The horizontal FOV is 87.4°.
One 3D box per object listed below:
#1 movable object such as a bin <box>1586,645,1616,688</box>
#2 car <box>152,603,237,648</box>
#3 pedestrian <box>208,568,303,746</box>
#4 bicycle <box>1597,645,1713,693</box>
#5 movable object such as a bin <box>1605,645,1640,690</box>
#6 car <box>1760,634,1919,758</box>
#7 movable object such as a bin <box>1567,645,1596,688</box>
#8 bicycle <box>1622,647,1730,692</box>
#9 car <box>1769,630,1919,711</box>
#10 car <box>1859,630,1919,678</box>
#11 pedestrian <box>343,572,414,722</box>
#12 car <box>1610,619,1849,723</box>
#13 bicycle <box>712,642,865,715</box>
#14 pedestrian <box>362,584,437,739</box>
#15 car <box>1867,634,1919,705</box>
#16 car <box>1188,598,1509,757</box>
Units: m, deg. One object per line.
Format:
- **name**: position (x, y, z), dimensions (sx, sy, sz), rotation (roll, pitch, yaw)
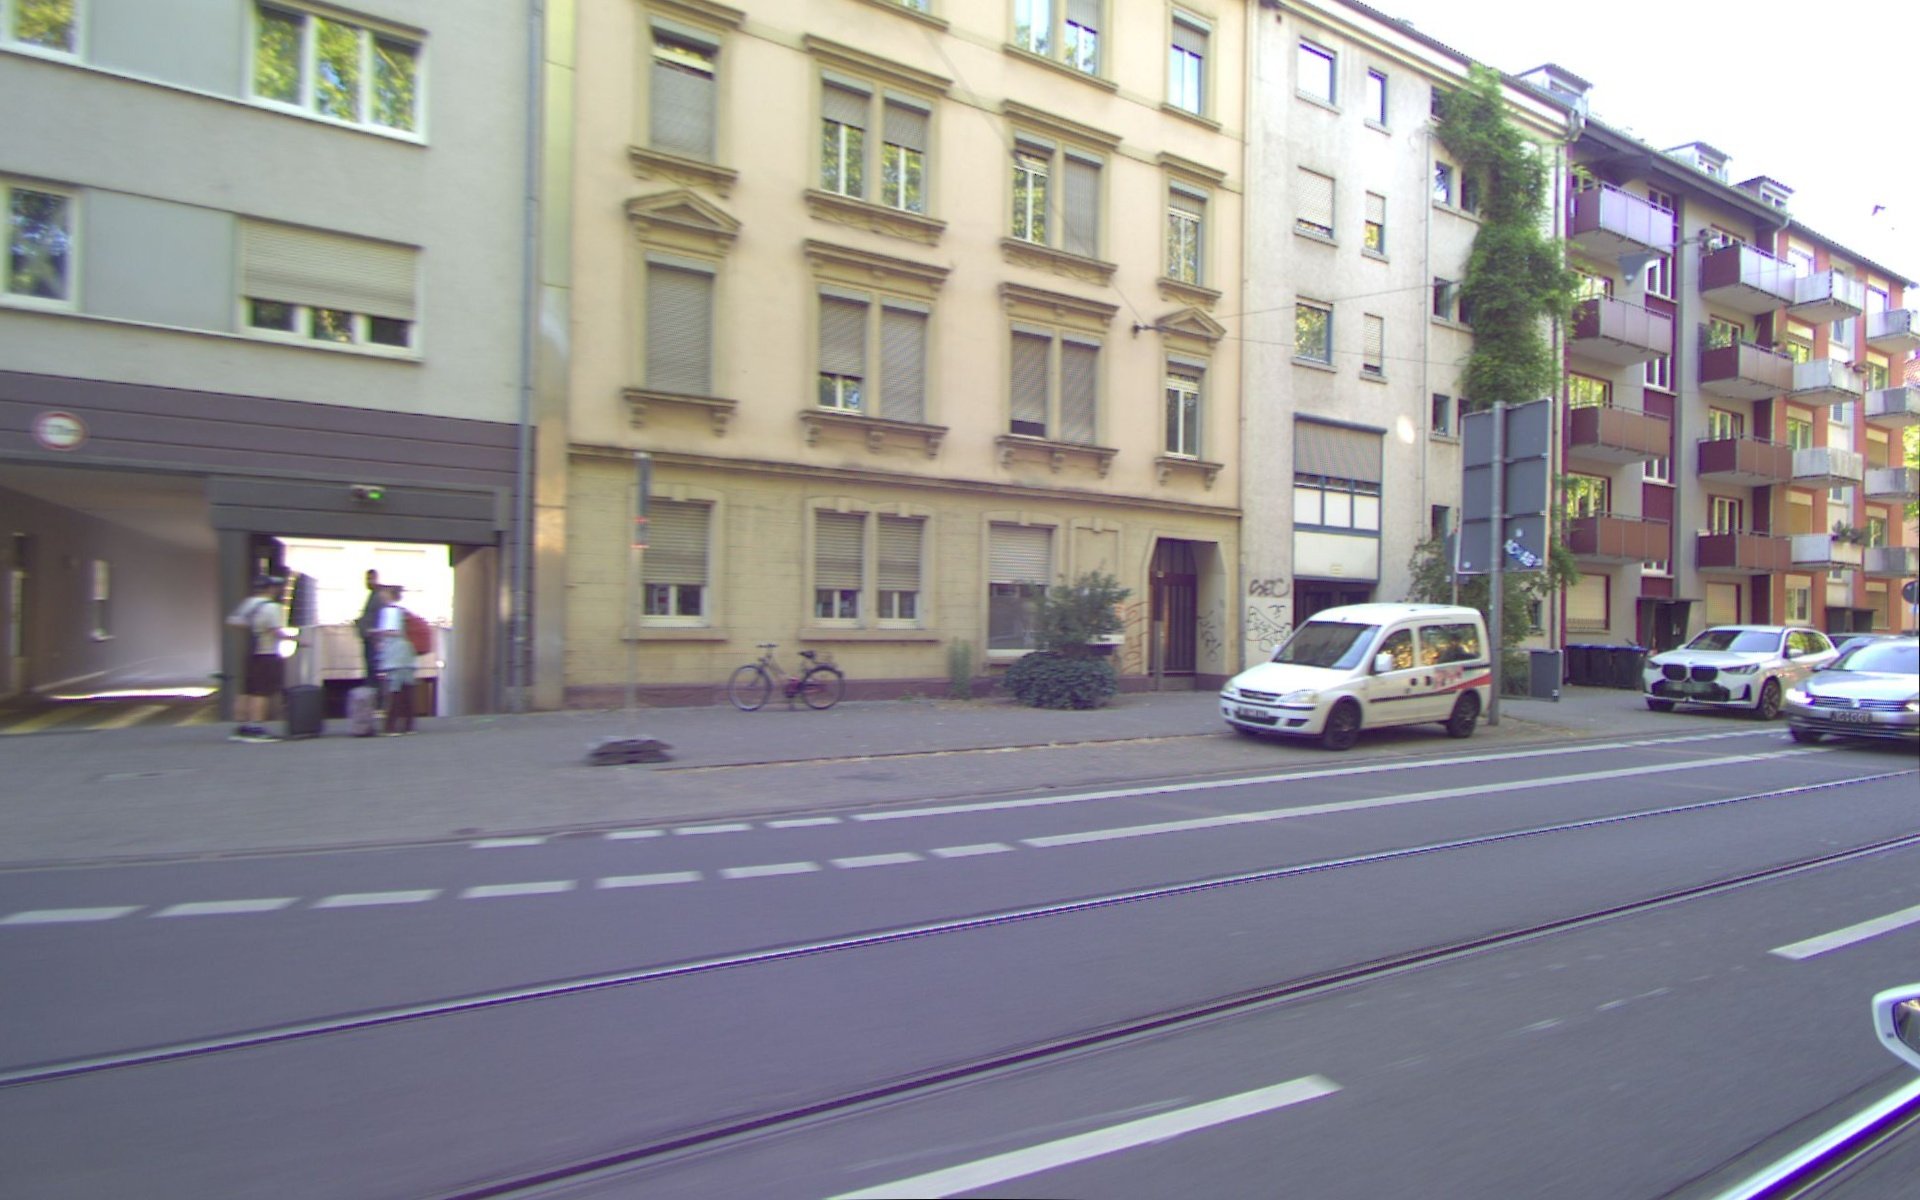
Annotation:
- **movable object such as a bin**: position (16.448, 1.703, 25.775), dimensions (0.486, 1.069, 0.458), rotation (1, -1, -30)
- **car**: position (-25.639, 0.822, 33.753), dimensions (1.767, 1.417, 3.570), rotation (2, -1, -30)
- **pedestrian**: position (-7.480, 0.577, 10.701), dimensions (0.727, 1.808, 0.860), rotation (1, 1, -31)
- **bicycle**: position (18.407, 1.804, 26.674), dimensions (0.691, 1.076, 2.436), rotation (2, 0, -32)
- **movable object such as a bin**: position (16.715, 1.697, 25.332), dimensions (0.492, 1.114, 0.576), rotation (1, -1, -30)
- **car**: position (13.306, 1.246, 14.088), dimensions (4.663, 1.465, 1.786), rotation (2, -1, -32)
- **movable object such as a bin**: position (16.198, 1.726, 26.166), dimensions (0.486, 1.069, 0.458), rotation (1, -1, -30)
- **bicycle**: position (19.386, 1.858, 27.250), dimensions (0.691, 1.006, 2.276), rotation (2, 1, -32)
- **car**: position (19.243, 1.483, 21.586), dimensions (3.735, 1.592, 1.619), rotation (2, -2, -29)
- **car**: position (44.944, 2.574, 48.093), dimensions (1.965, 2.151, 4.713), rotation (1, -1, 32)
- **pedestrian**: position (-7.456, 0.571, 12.913), dimensions (0.720, 1.838, 0.958), rotation (2, 1, -29)
- **car**: position (14.514, 1.286, 18.878), dimensions (4.827, 1.670, 1.942), rotation (2, 0, -32)
- **bicycle**: position (-2.486, 1.131, 14.615), dimensions (2.105, 0.984, 0.646), rotation (1, 0, -20)
- **pedestrian**: position (-6.310, 0.669, 11.298), dimensions (0.679, 1.654, 0.723), rotation (1, 1, -31)
- **car**: position (23.753, 1.668, 24.210), dimensions (3.962, 1.608, 1.809), rotation (2, 0, -32)
- **car**: position (5.305, 0.942, 13.511), dimensions (4.424, 1.794, 1.778), rotation (2, 0, -34)
